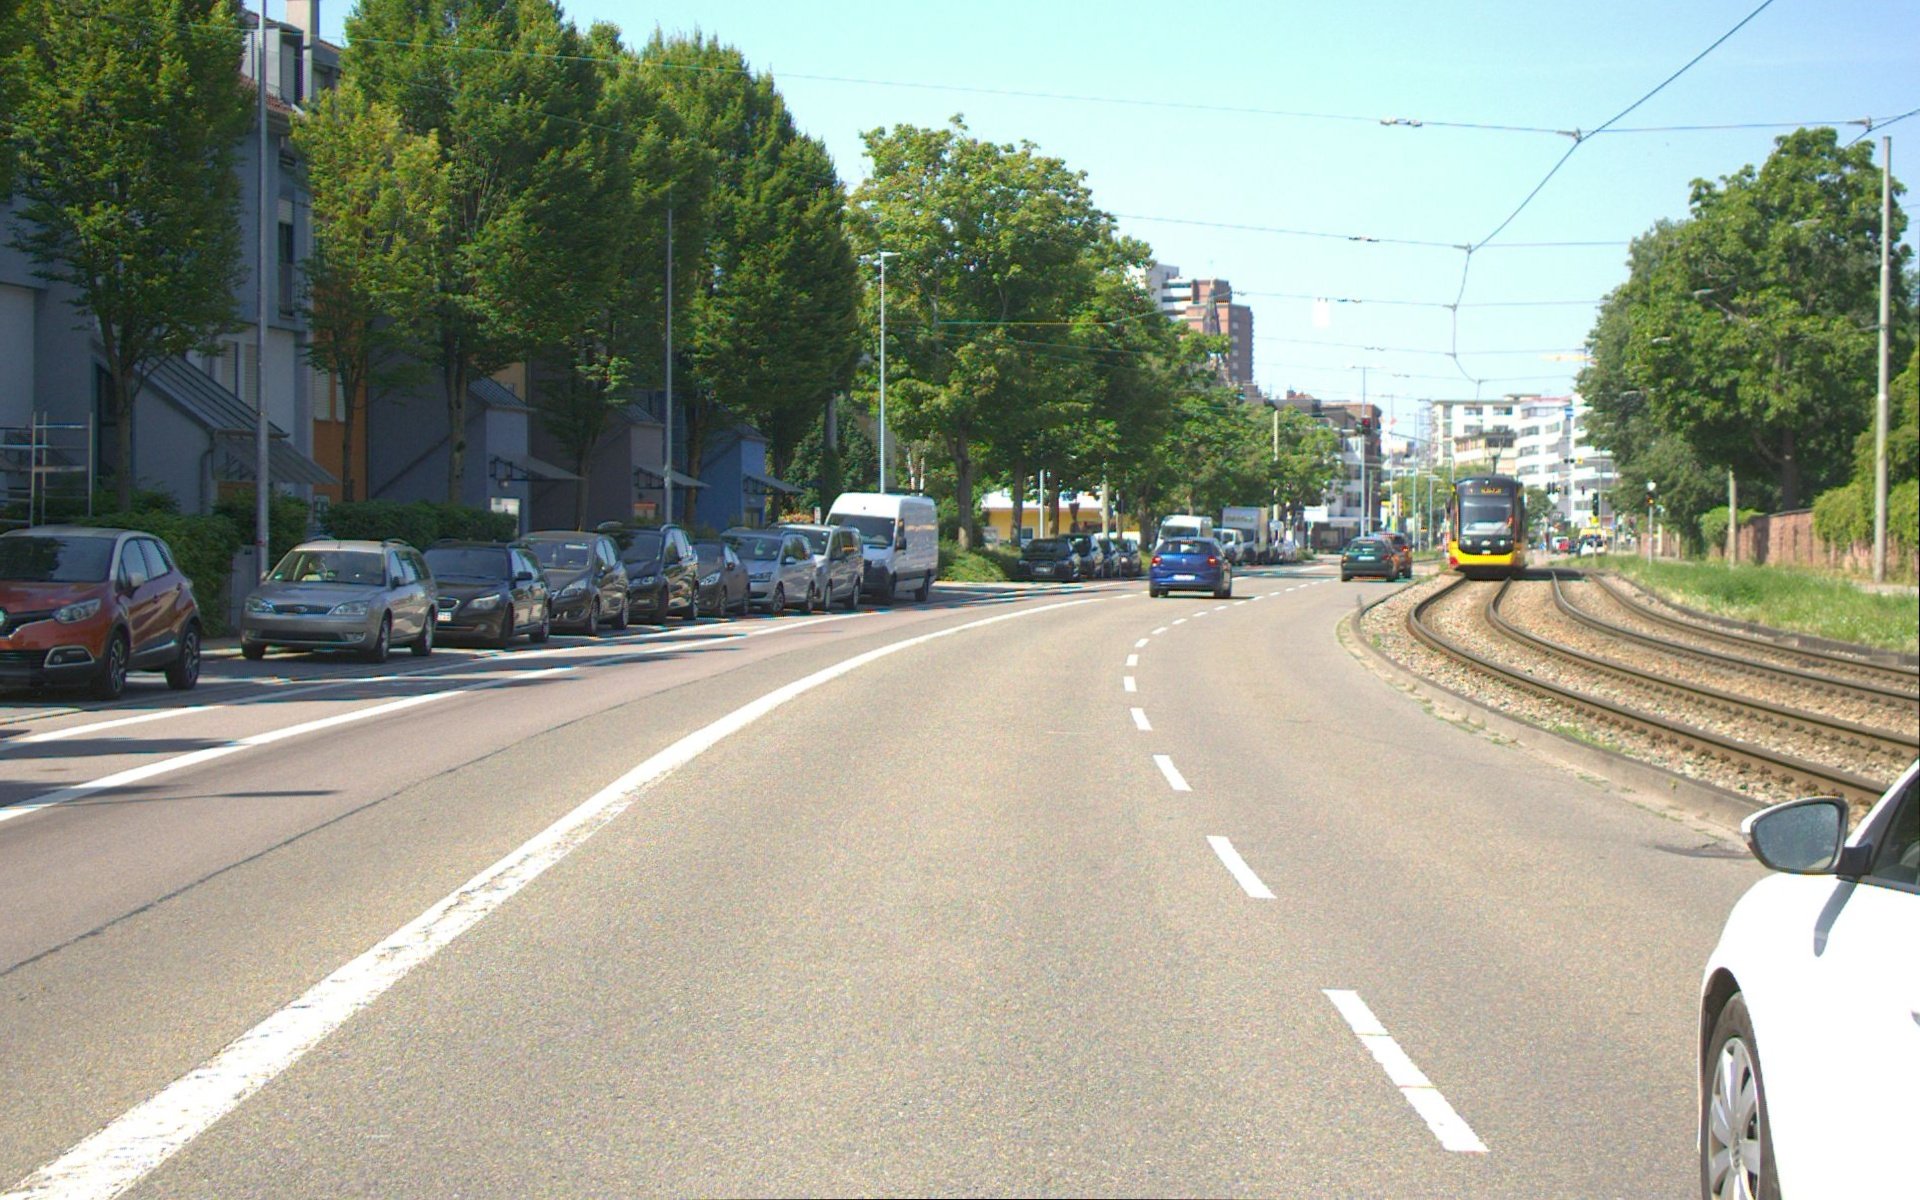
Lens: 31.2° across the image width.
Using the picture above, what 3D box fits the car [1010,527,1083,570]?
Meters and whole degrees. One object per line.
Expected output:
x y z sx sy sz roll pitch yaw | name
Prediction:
2.920 -1.729 115.740 1.700 1.412 3.998 1 1 13 | car

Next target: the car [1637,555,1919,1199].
2.323 0.692 5.162 1.691 1.446 4.459 1 1 0 | car

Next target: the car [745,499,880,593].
-3.273 -1.231 77.537 1.920 1.941 5.352 3 2 9 | car

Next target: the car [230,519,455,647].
-7.743 -0.243 43.533 1.780 1.478 4.857 2 1 2 | car

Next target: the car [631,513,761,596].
-5.105 -0.897 66.883 1.691 1.469 4.047 3 2 7 | car

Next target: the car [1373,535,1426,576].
16.050 -1.626 125.504 1.801 1.455 3.999 1 1 9 | car

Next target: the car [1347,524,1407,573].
13.585 -1.686 111.929 1.801 1.502 3.999 2 2 9 | car

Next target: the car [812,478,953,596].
-1.858 -1.564 85.805 1.995 2.704 7.154 3 2 10 | car

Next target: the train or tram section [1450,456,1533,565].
19.368 -3.211 124.782 2.512 3.734 13.305 1 1 11 | train or tram section

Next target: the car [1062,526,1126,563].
5.022 -2.077 128.458 1.700 1.347 3.998 1 1 13 | car

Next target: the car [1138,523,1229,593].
5.332 -1.023 81.619 1.801 1.502 3.999 2 2 9 | car

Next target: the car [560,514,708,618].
-5.766 -0.637 61.288 1.769 1.717 4.869 2 1 4 | car

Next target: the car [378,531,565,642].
-7.042 -0.238 49.995 1.723 1.469 4.714 2 1 4 | car

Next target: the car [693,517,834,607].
-4.067 -0.809 71.946 1.801 1.718 4.907 4 2 10 | car

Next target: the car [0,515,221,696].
-8.418 -0.004 32.587 1.731 1.546 4.318 2 1 2 | car

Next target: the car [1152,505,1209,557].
10.422 -3.242 162.255 1.881 2.407 5.113 1 1 13 | car

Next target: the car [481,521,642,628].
-6.437 -0.448 55.945 1.717 1.619 4.312 2 1 5 | car
